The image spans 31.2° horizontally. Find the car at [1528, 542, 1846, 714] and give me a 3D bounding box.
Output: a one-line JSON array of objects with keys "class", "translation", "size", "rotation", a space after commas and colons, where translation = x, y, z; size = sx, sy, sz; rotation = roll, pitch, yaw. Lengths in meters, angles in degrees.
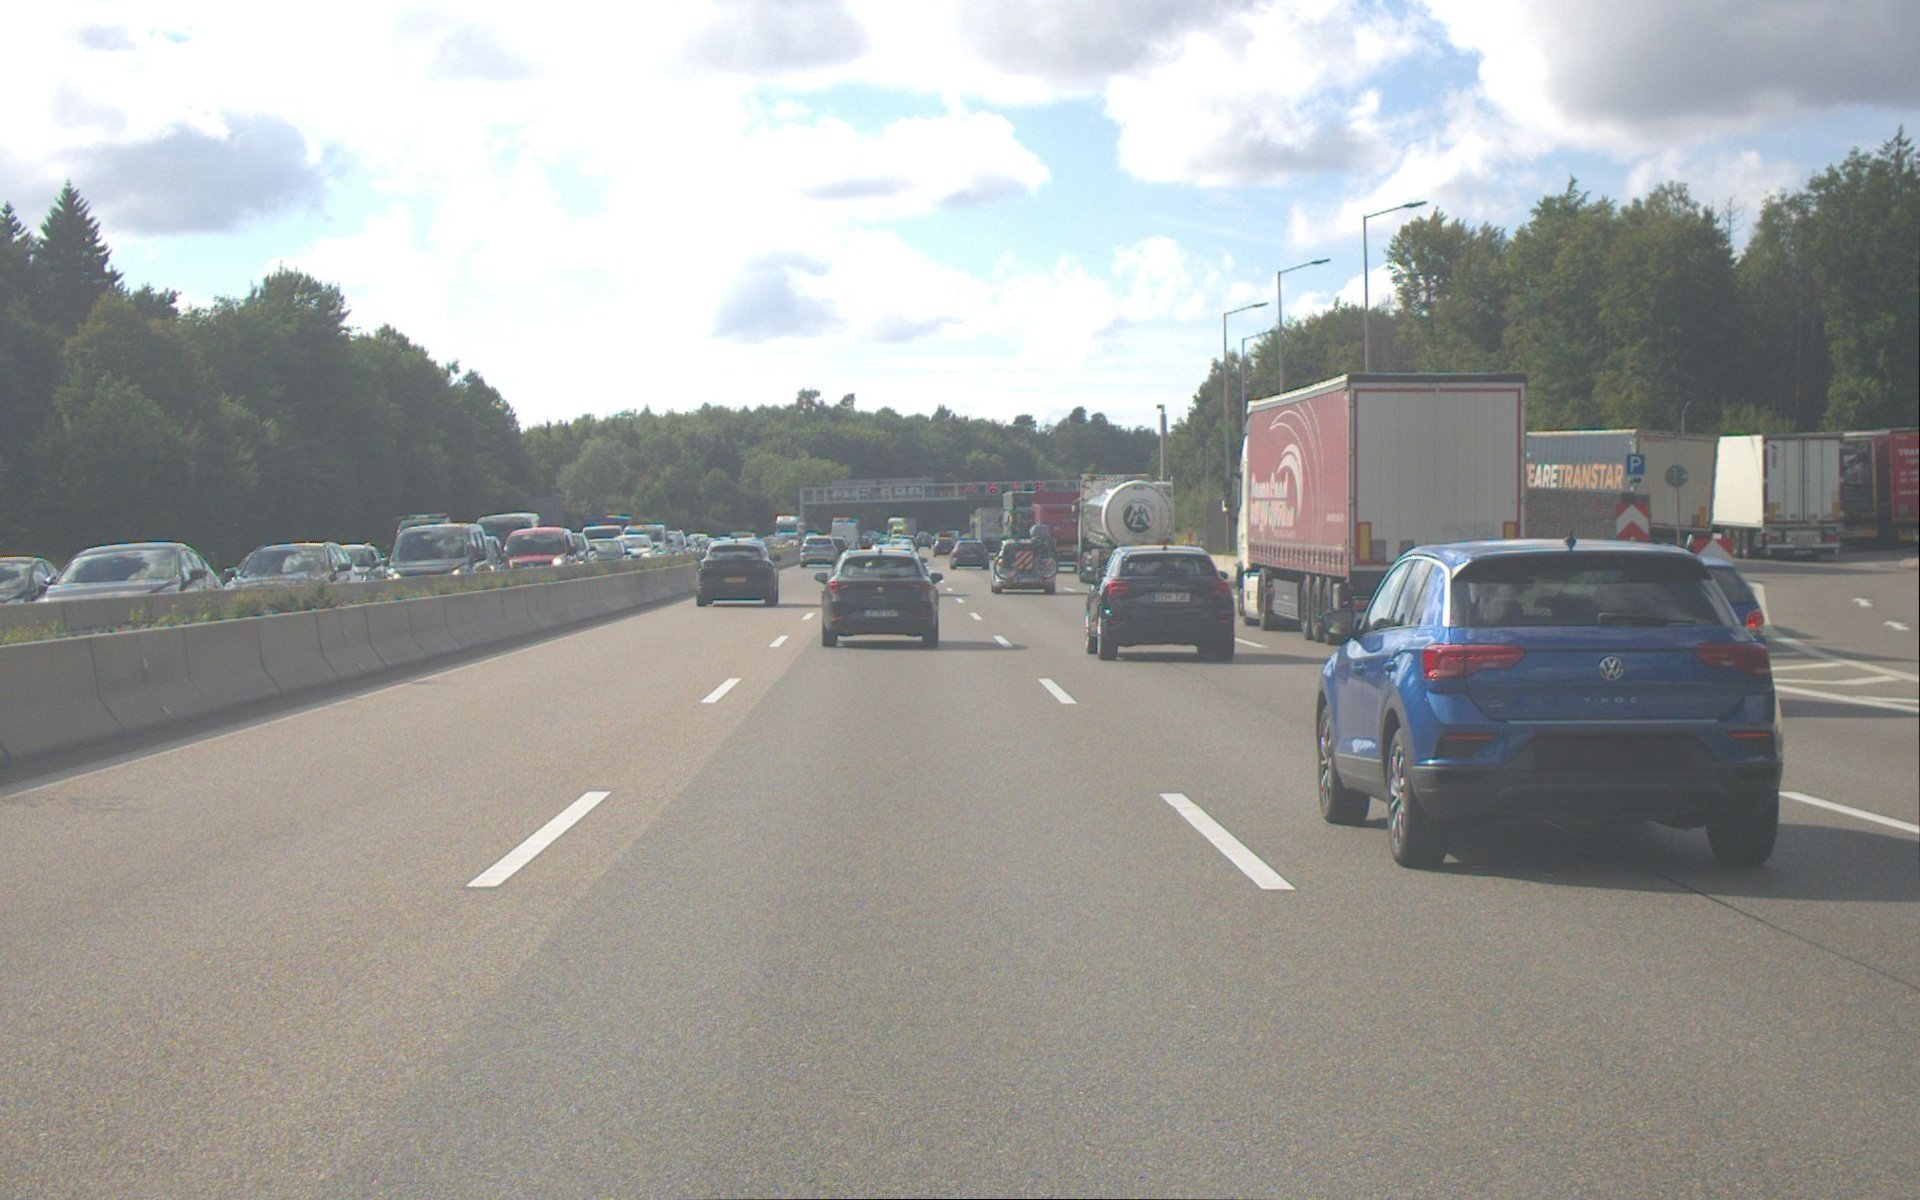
[{"class": "car", "translation": [6.845, 0.246, 32.827], "size": [1.714, 1.506, 4.303], "rotation": [-1, 0, -6]}]

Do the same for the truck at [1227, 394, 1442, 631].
[{"class": "truck", "translation": [6.669, -1.475, 62.073], "size": [3.080, 4.050, 6.070], "rotation": [1, -1, -1]}]

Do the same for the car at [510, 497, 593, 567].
[{"class": "car", "translation": [-10.564, -1.768, 89.237], "size": [1.875, 1.756, 5.295], "rotation": [0, 1, -4]}]

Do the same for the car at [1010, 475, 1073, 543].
[{"class": "car", "translation": [3.826, -4.271, 162.217], "size": [2.866, 2.981, 5.149], "rotation": [1, -1, 0]}]

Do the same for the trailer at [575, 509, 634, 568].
[{"class": "trailer", "translation": [-17.288, -2.965, 167.644], "size": [2.278, 2.776, 8.542], "rotation": [1, 1, -2]}]

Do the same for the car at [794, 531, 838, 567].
[{"class": "car", "translation": [-7.499, -2.652, 179.759], "size": [2.154, 1.770, 4.000], "rotation": [1, 0, -1]}]

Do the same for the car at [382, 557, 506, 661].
[{"class": "car", "translation": [-10.392, 0.203, 69.529], "size": [1.816, 2.007, 4.452], "rotation": [1, -1, 0]}]

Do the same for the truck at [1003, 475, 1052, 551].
[{"class": "truck", "translation": [3.494, -4.491, 179.910], "size": [2.358, 3.560, 11.266], "rotation": [1, -1, 0]}]

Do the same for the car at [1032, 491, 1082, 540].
[{"class": "car", "translation": [4.272, -3.723, 152.116], "size": [1.993, 2.007, 4.000], "rotation": [1, -1, -1]}]

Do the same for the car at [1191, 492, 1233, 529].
[{"class": "car", "translation": [14.451, -5.137, 196.955], "size": [1.993, 2.007, 4.000], "rotation": [-1, 1, -1]}]

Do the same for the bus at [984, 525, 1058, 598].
[{"class": "bus", "translation": [1.747, -1.092, 99.716], "size": [1.993, 2.007, 4.000], "rotation": [1, -1, -1]}]

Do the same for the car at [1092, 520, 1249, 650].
[{"class": "car", "translation": [2.776, -0.198, 46.058], "size": [1.799, 1.639, 4.000], "rotation": [1, 0, -1]}]

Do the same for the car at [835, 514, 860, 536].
[{"class": "car", "translation": [-8.095, -5.411, 247.674], "size": [1.623, 1.465, 3.815], "rotation": [1, 0, 0]}]

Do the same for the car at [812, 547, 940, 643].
[{"class": "car", "translation": [-1.297, -0.073, 51.624], "size": [1.734, 1.360, 4.000], "rotation": [1, 0, -4]}]

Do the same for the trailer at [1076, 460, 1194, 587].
[{"class": "trailer", "translation": [5.825, -2.488, 116.570], "size": [3.036, 4.002, 12.246], "rotation": [0, 0, -1]}]

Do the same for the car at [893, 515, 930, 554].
[{"class": "car", "translation": [-2.700, -3.637, 190.934], "size": [1.993, 2.007, 4.000], "rotation": [-1, -1, -1]}]

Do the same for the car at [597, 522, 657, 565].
[{"class": "car", "translation": [-12.404, -2.110, 128.176], "size": [1.765, 1.567, 4.357], "rotation": [1, 1, 0]}]

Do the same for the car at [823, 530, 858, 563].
[{"class": "car", "translation": [-7.238, -3.247, 208.351], "size": [1.993, 2.007, 4.001], "rotation": [0, 1, -3]}]

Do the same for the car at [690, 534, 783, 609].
[{"class": "car", "translation": [-5.373, -0.707, 83.040], "size": [1.993, 1.770, 4.000], "rotation": [0, 1, -1]}]

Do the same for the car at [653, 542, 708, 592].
[{"class": "car", "translation": [-11.861, -1.385, 146.167], "size": [1.993, 2.007, 4.677], "rotation": [1, -1, -1]}]

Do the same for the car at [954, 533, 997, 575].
[{"class": "car", "translation": [0.729, -2.246, 169.096], "size": [1.993, 2.007, 4.000], "rotation": [1, 0, -1]}]

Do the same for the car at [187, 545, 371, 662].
[{"class": "car", "translation": [-10.683, 0.073, 54.219], "size": [1.993, 1.753, 4.458], "rotation": [1, -1, 0]}]

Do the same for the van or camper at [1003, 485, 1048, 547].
[{"class": "van or camper", "translation": [3.524, -4.526, 186.494], "size": [2.351, 3.133, 5.710], "rotation": [1, -1, 0]}]

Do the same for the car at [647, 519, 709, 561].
[{"class": "car", "translation": [-11.190, -2.389, 136.750], "size": [1.993, 1.567, 5.329], "rotation": [2, 1, 0]}]

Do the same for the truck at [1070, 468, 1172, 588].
[{"class": "truck", "translation": [5.693, -2.508, 122.552], "size": [3.045, 4.146, 7.127], "rotation": [0, 0, -2]}]

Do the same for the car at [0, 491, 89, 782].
[{"class": "car", "translation": [-7.322, 0.220, 23.091], "size": [1.993, 1.914, 4.001], "rotation": [0, 1, -1]}]

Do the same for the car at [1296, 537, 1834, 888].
[{"class": "car", "translation": [2.912, 0.474, 17.576], "size": [1.924, 1.536, 4.645], "rotation": [-1, 1, 0]}]

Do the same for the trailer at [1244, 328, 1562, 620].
[{"class": "trailer", "translation": [6.811, -1.733, 55.323], "size": [3.038, 4.021, 13.890], "rotation": [1, -1, -1]}]

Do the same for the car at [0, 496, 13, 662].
[{"class": "car", "translation": [-10.027, -0.164, 30.339], "size": [1.993, 1.567, 4.815], "rotation": [0, 1, 0]}]
